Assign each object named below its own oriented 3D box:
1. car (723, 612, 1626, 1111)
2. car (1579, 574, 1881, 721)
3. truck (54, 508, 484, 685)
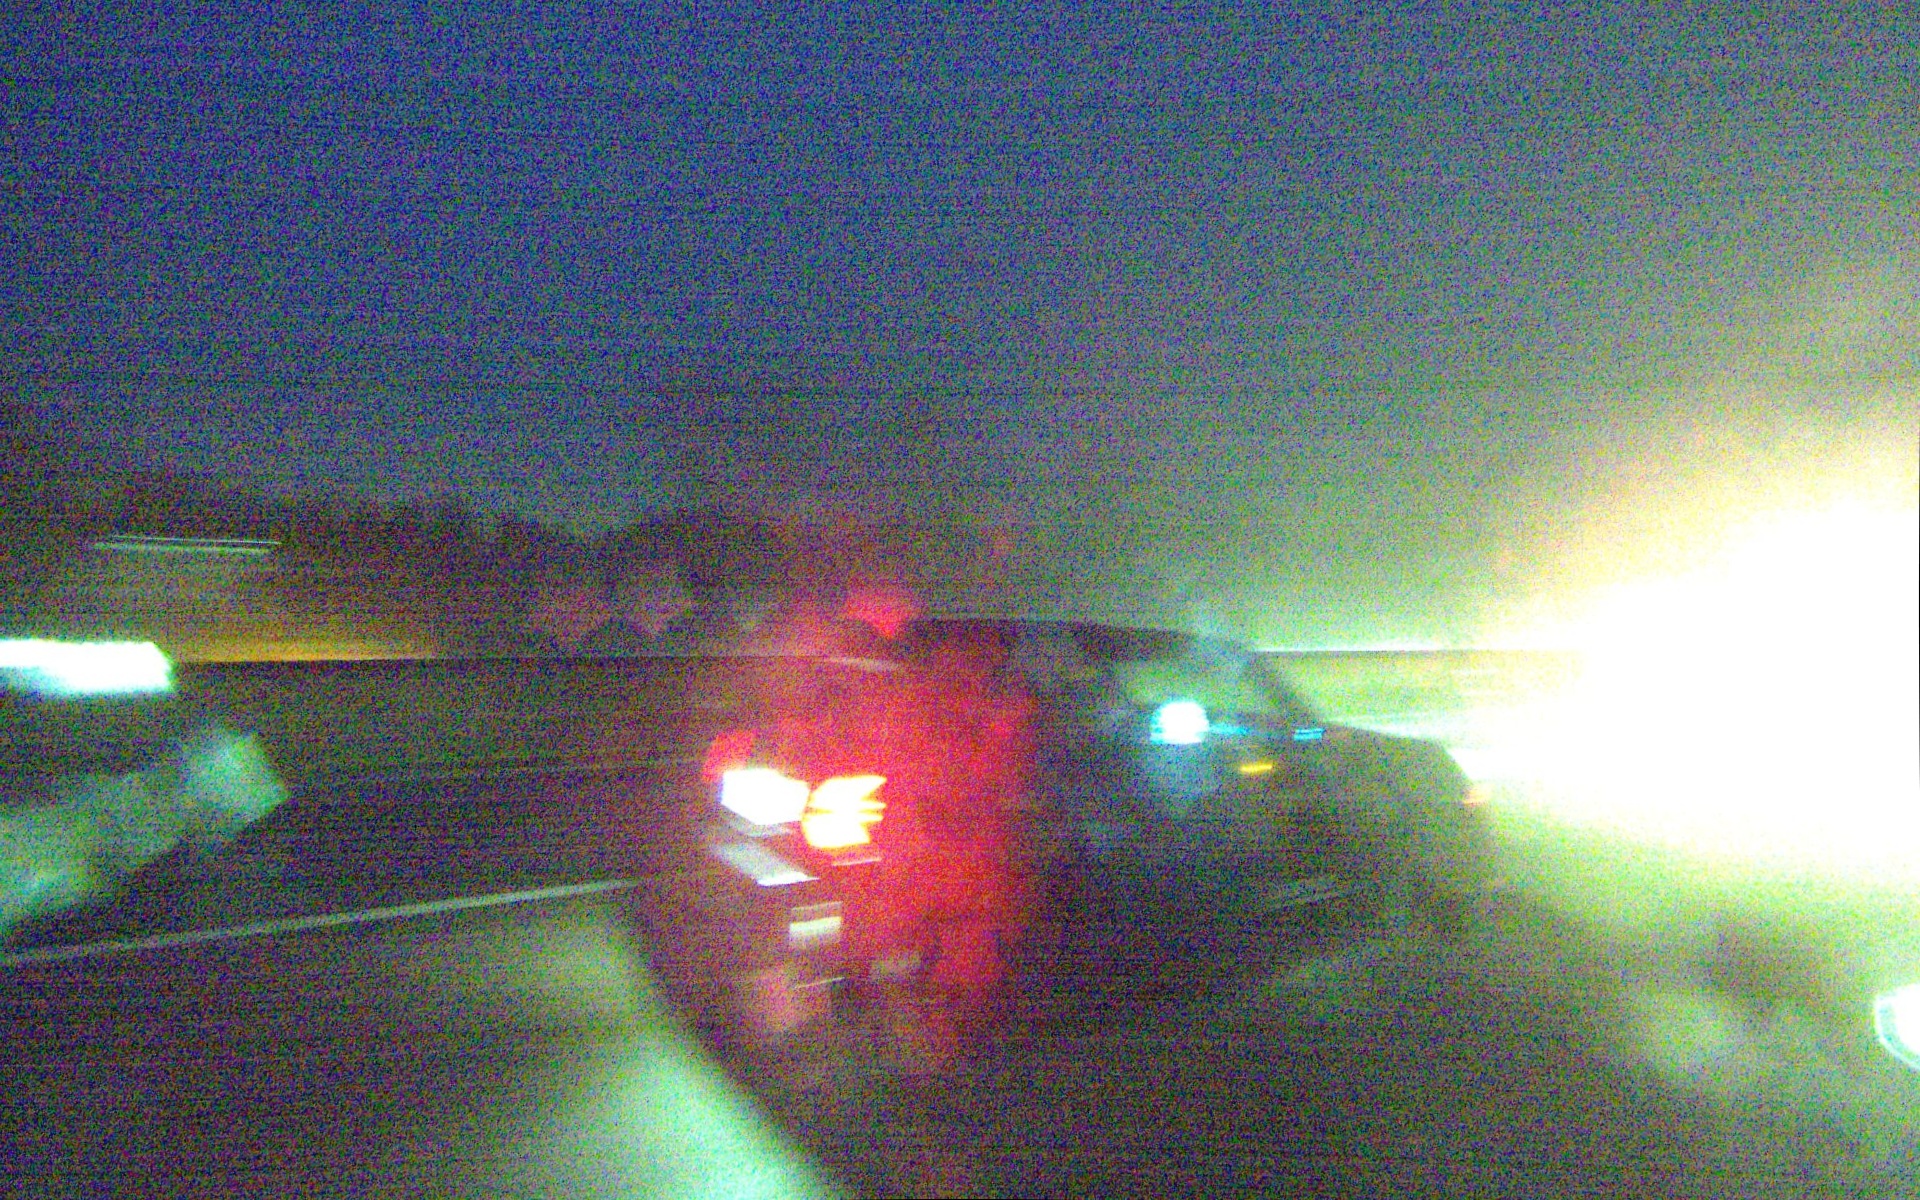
[{"bbox_3d":[1.181,0.820,4.764,4.197,1.450,1.648,1,0,-31],"label":"car"},{"bbox_3d":[13.045,0.749,16.909,5.564,2.132,2.113,1,0,-31],"label":"car"},{"bbox_3d":[-13.246,0.013,19.975,6.624,3.039,2.439,2,0,-30],"label":"truck"}]
